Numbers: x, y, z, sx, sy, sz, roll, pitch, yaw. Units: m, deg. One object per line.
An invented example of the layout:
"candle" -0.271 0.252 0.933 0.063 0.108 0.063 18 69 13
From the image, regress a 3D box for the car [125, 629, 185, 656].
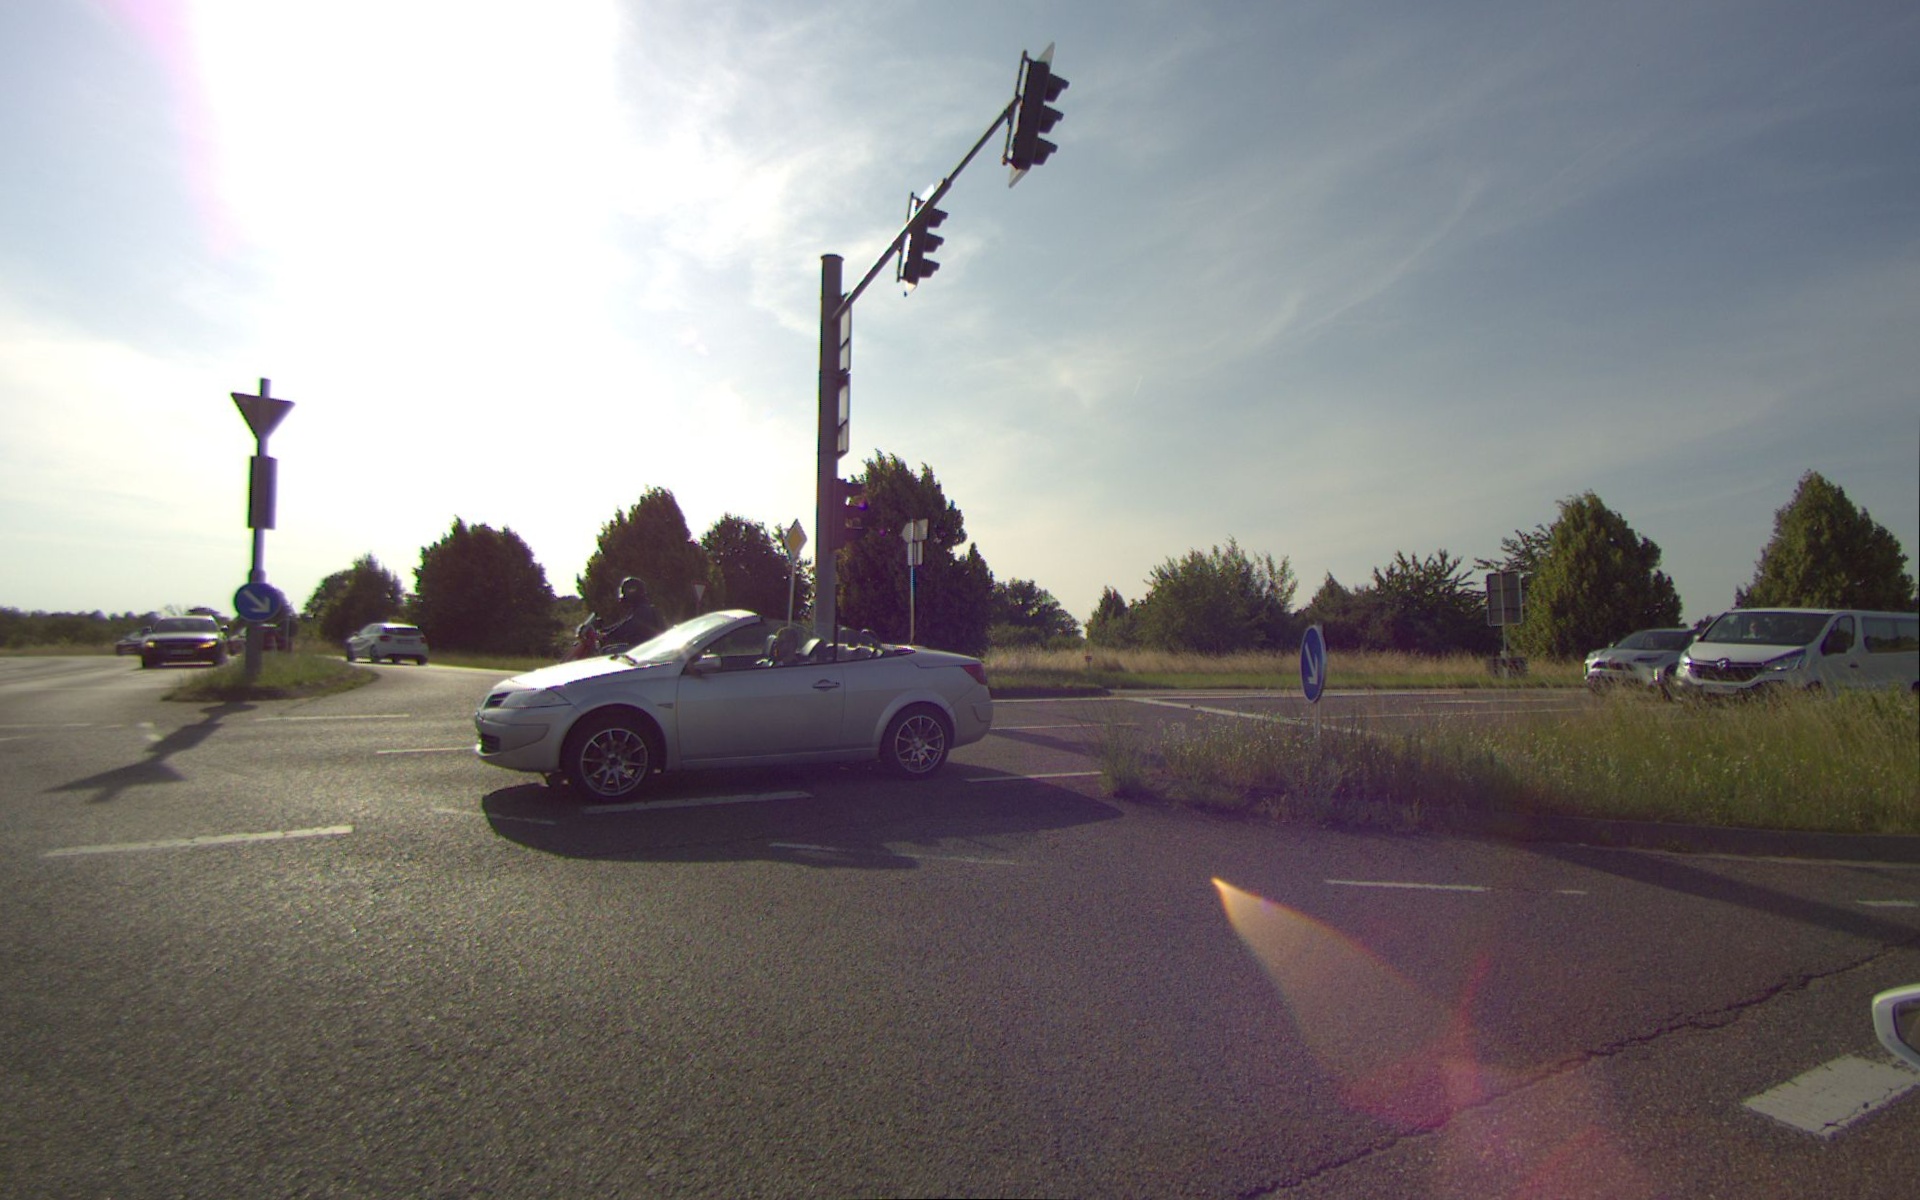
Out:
"car" -45.333 2.368 56.528 3.935 1.372 1.652 0 -2 36

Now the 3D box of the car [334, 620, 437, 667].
"car" -21.279 1.572 37.148 4.381 1.555 1.944 0 -2 41

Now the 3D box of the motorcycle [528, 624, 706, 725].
"motorcycle" -4.247 0.907 12.466 1.996 1.174 0.705 2 -1 -26

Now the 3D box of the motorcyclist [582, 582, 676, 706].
"motorcyclist" -4.133 0.539 12.528 1.007 1.484 0.702 2 -1 -26

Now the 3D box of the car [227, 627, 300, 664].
"car" -33.024 2.116 47.600 4.070 1.608 1.917 0 -2 42

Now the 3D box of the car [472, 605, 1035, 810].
"car" -1.655 0.788 8.580 4.401 1.371 1.686 2 -1 -30

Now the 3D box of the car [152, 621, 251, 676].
"car" -21.745 1.351 28.948 1.939 1.416 3.964 2 -1 -33

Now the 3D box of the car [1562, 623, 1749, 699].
"car" 15.474 1.333 22.325 4.081 1.545 1.700 2 -1 -27

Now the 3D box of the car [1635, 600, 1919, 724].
"car" 14.712 1.054 17.796 5.712 1.929 1.987 2 -1 -26

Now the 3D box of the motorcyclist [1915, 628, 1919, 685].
"motorcyclist" 28.070 1.635 28.671 1.232 1.625 0.750 2 -1 -23

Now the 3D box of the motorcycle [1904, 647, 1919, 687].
"motorcycle" 28.080 1.915 28.717 2.275 1.108 0.750 2 -1 -23
